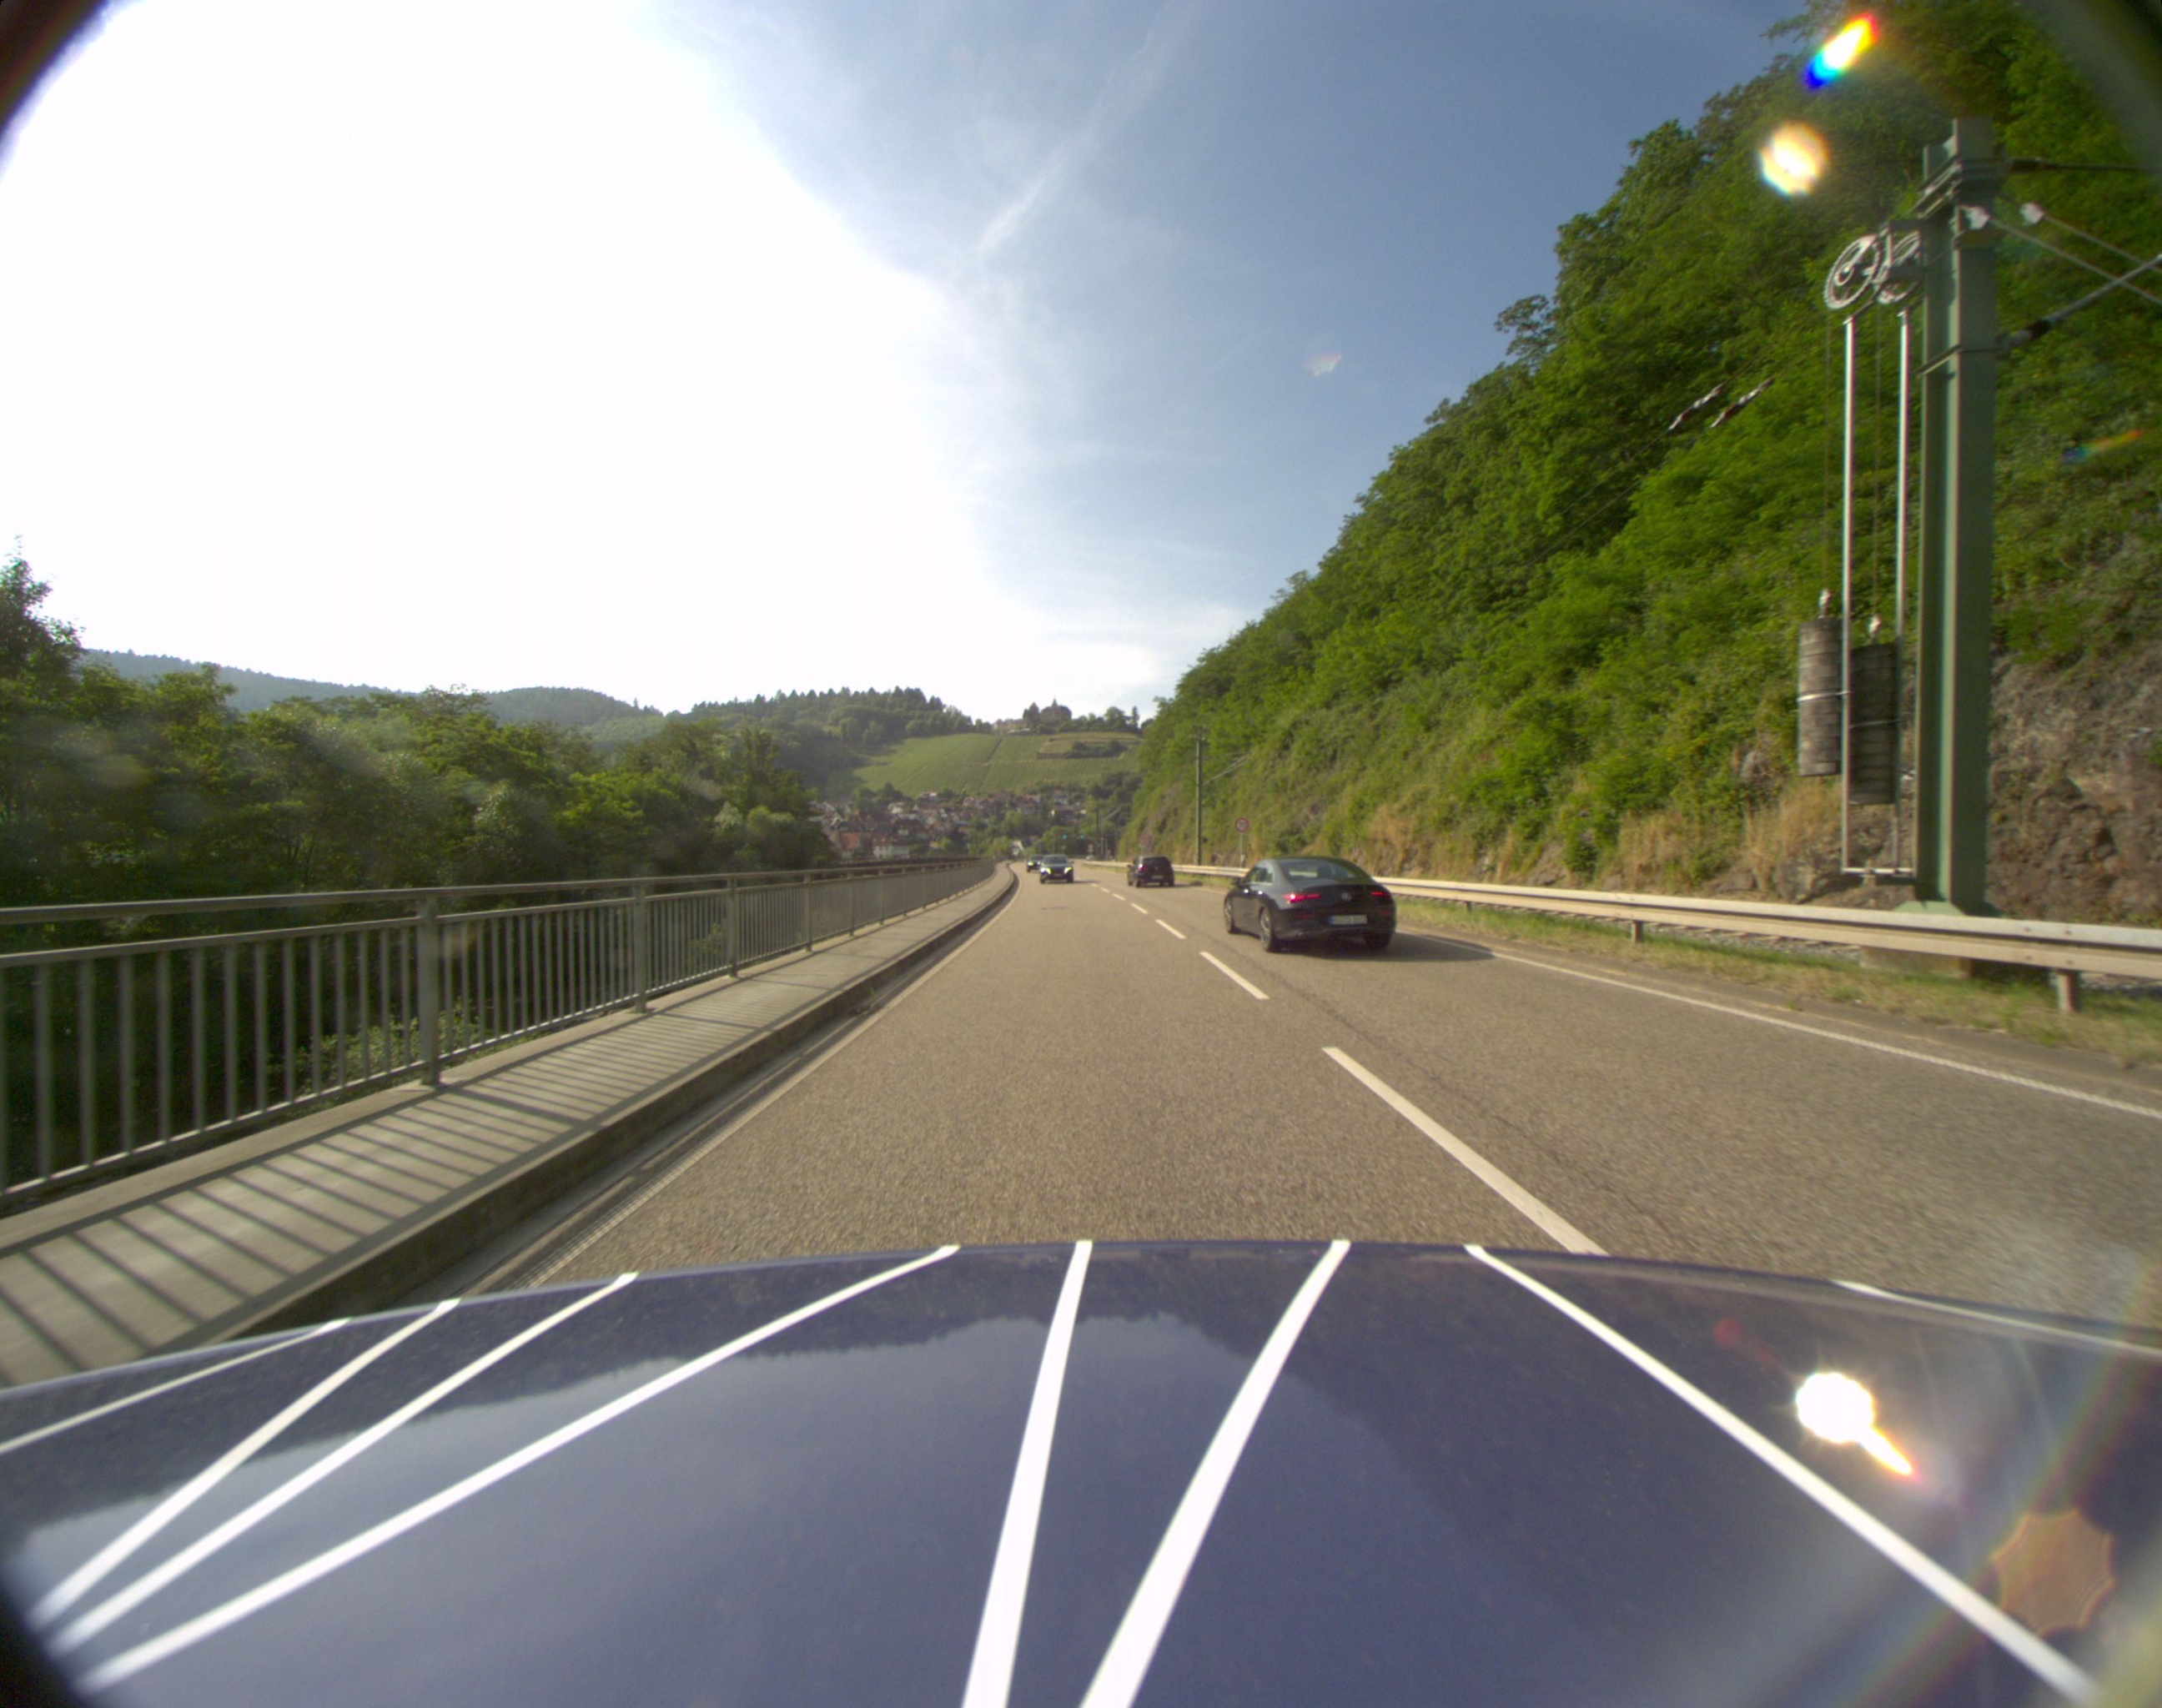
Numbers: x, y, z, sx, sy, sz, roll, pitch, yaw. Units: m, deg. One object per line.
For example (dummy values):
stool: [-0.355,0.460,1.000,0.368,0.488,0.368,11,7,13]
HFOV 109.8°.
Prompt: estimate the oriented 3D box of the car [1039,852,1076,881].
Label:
car: [-1.405,0.732,44.369,1.864,1.576,3.998,-1,-1,-6]

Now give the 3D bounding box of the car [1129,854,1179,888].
car: [3.333,0.762,35.383,1.852,1.432,3.896,-2,0,-2]

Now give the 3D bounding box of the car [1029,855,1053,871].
car: [-3.801,0.838,71.226,2.000,1.384,3.998,0,-1,-6]

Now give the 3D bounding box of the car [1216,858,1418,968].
car: [3.552,0.803,12.389,1.852,1.394,4.476,-2,0,0]

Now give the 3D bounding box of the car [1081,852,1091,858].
car: [1.246,0.179,200.534,2.067,1.431,4.689,3,0,8]
